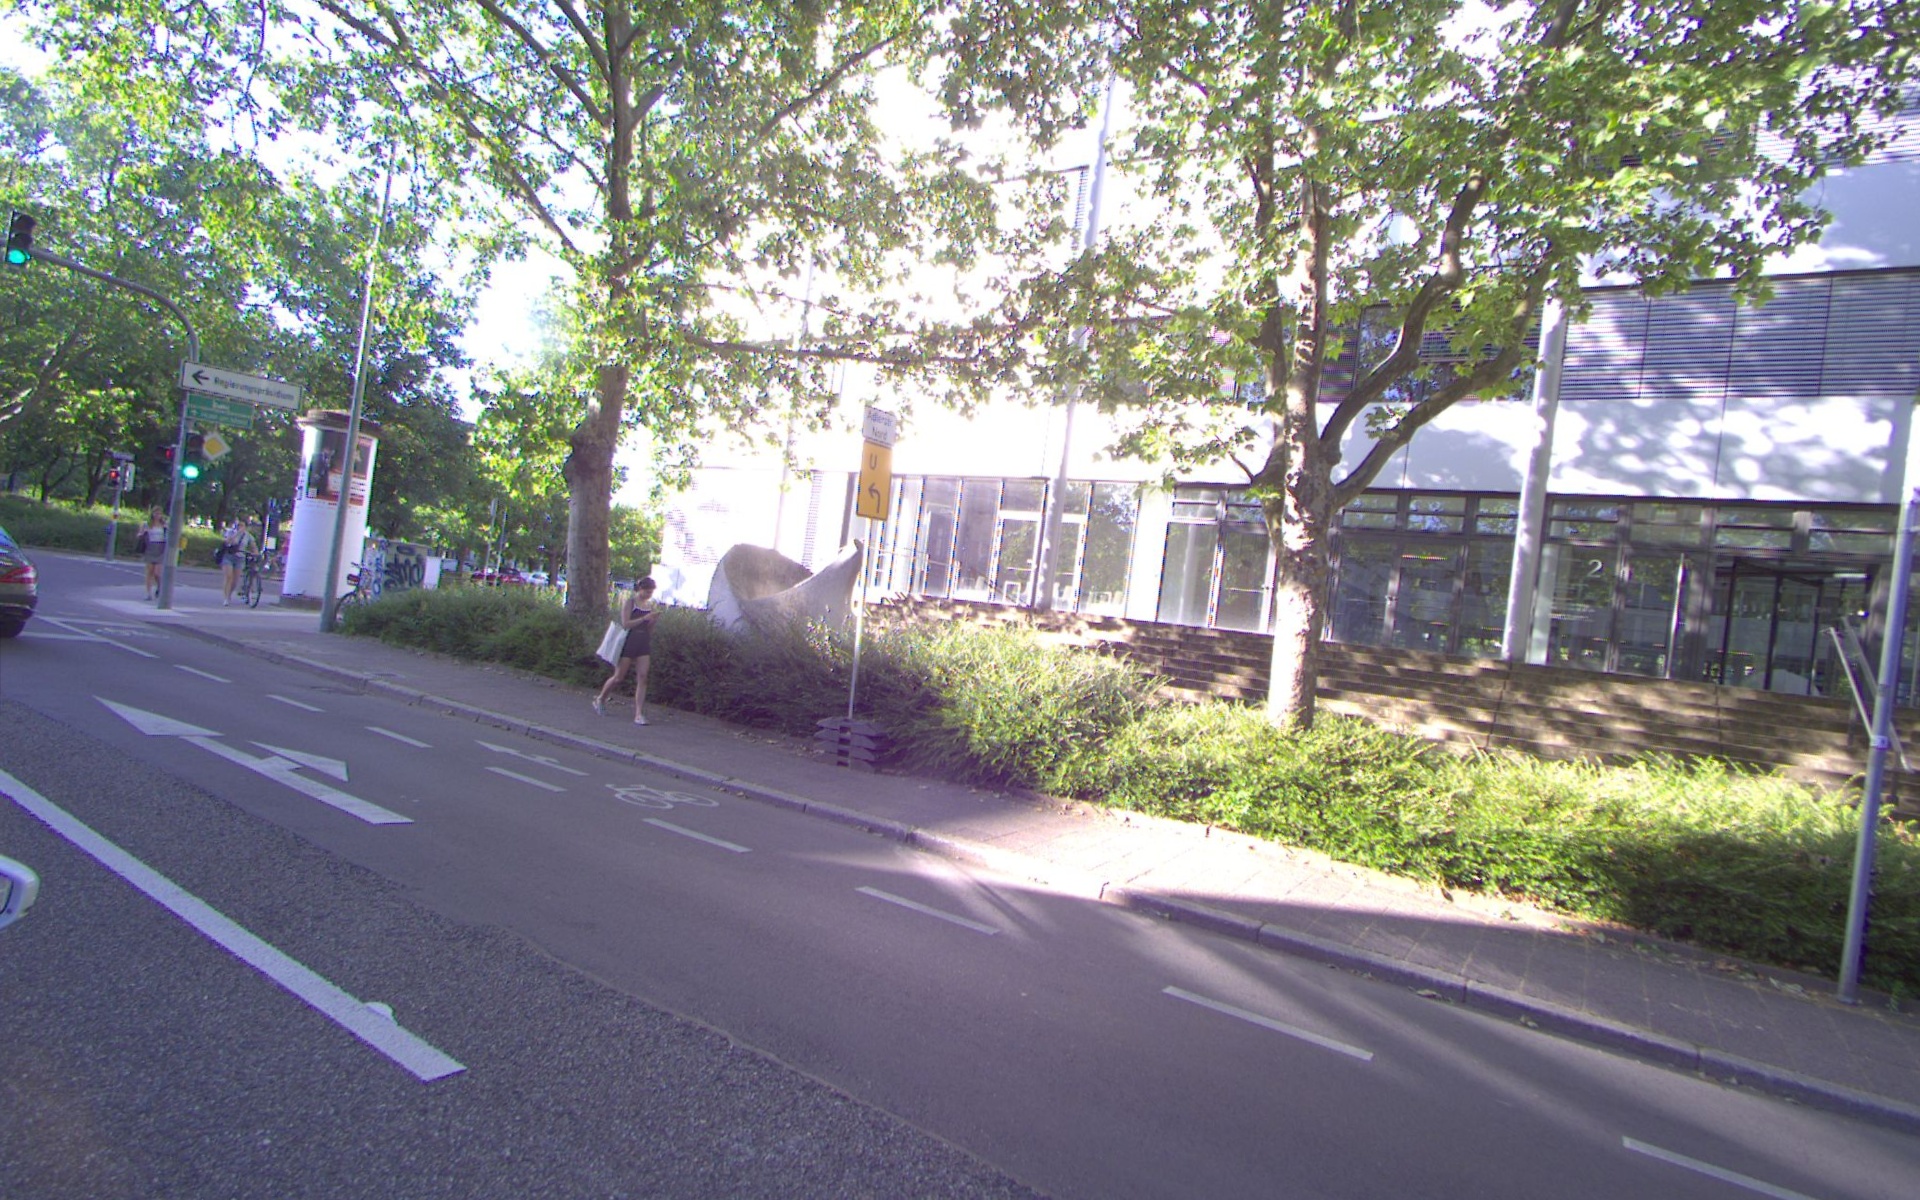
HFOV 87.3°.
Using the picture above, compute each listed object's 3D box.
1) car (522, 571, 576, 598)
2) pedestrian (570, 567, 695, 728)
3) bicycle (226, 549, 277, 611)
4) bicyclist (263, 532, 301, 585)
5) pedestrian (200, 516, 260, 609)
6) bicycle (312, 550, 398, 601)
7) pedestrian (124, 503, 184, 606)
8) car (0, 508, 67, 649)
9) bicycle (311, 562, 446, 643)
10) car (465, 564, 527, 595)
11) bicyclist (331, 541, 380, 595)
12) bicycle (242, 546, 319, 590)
[{"bbox_3d":[-29.686,-1.114,72.579,3.733,1.484,1.575,6,-2,32],"label":"car"},{"bbox_3d":[-3.658,0.527,11.248,0.893,1.650,0.798,6,0,34],"label":"pedestrian"},{"bbox_3d":[-14.306,-0.417,20.298,0.523,1.112,1.721,9,-2,-42],"label":"bicycle"},{"bbox_3d":[-23.429,-1.436,34.771,0.664,1.717,0.711,7,-2,33],"label":"bicyclist"},{"bbox_3d":[-14.500,-0.755,19.977,0.681,1.717,0.959,9,-2,-43],"label":"pedestrian"},{"bbox_3d":[-20.229,-0.802,33.675,0.649,1.341,2.293,6,-3,34],"label":"bicycle"},{"bbox_3d":[-15.374,-0.863,19.185,0.729,1.830,0.899,6,-1,-40],"label":"pedestrian"},{"bbox_3d":[-12.190,-0.496,11.324,4.442,1.445,1.847,6,-2,31],"label":"car"},{"bbox_3d":[-10.416,0.068,18.090,0.519,1.203,1.980,7,-2,31],"label":"bicycle"},{"bbox_3d":[-29.241,-1.301,63.379,3.733,1.499,1.633,6,-2,32],"label":"car"},{"bbox_3d":[-20.229,-1.055,33.695,0.856,1.634,0.965,6,-2,35],"label":"bicyclist"},{"bbox_3d":[-23.459,-1.091,34.783,0.589,1.234,2.035,7,-3,32],"label":"bicycle"}]
